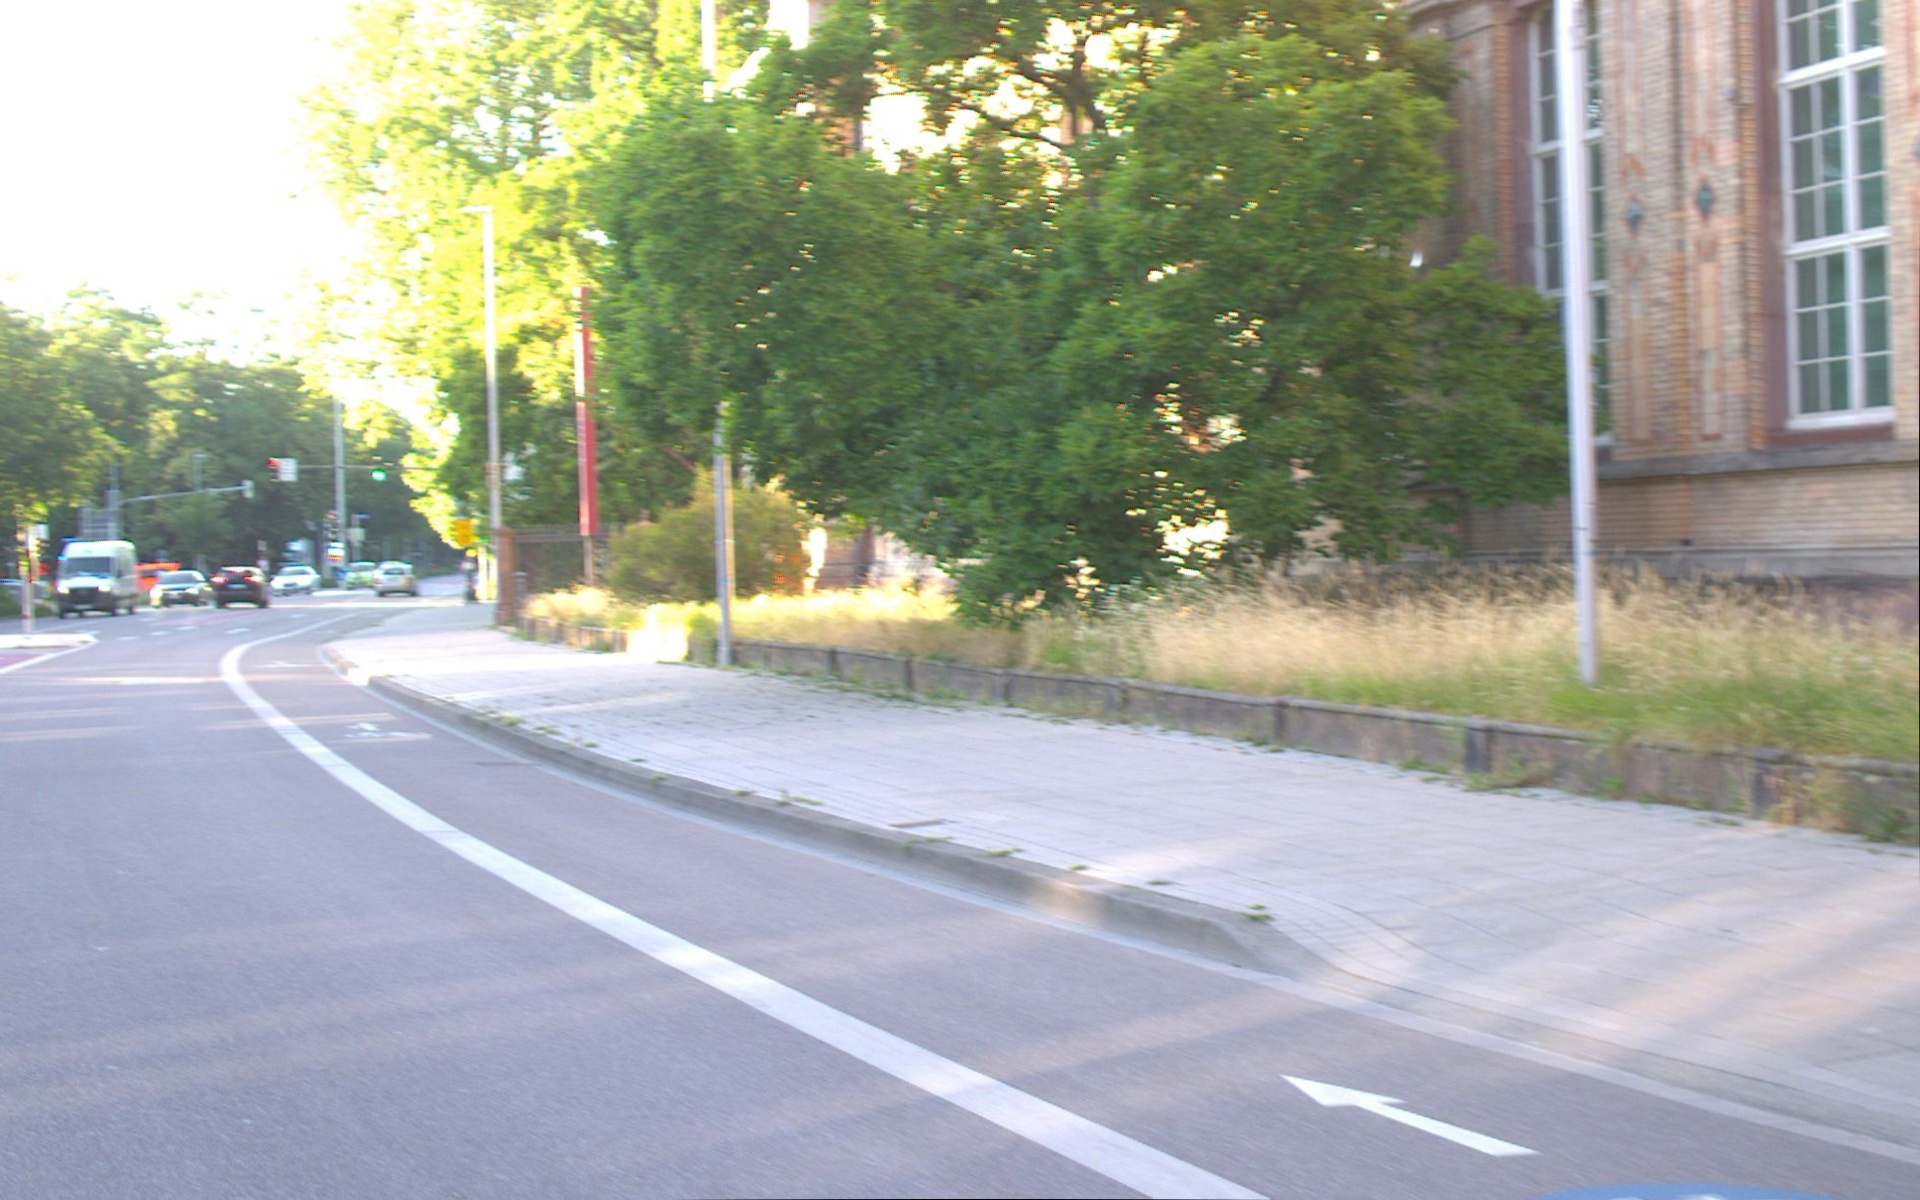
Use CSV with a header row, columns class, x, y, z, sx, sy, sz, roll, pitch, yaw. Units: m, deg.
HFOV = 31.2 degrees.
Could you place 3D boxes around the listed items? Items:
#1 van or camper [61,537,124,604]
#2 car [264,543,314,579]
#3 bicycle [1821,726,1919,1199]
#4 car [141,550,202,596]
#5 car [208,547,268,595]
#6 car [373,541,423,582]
class,x,y,z,sx,sy,sz,roll,pitch,yaw
van or camper,-29.841,-1.038,118.322,1.828,2.187,4.423,-3,1,-12
car,-33.402,-1.955,171.247,1.993,1.714,4.001,-2,1,-6
bicycle,2.168,0.820,5.442,0.711,1.152,2.069,-1,1,-12
car,-31.889,-1.109,139.151,1.993,1.714,4.001,-2,1,-8
car,-27.201,-1.108,129.611,1.993,1.714,4.001,-2,1,-10
car,-25.116,-1.723,153.682,1.993,1.714,4.001,-2,1,-7
